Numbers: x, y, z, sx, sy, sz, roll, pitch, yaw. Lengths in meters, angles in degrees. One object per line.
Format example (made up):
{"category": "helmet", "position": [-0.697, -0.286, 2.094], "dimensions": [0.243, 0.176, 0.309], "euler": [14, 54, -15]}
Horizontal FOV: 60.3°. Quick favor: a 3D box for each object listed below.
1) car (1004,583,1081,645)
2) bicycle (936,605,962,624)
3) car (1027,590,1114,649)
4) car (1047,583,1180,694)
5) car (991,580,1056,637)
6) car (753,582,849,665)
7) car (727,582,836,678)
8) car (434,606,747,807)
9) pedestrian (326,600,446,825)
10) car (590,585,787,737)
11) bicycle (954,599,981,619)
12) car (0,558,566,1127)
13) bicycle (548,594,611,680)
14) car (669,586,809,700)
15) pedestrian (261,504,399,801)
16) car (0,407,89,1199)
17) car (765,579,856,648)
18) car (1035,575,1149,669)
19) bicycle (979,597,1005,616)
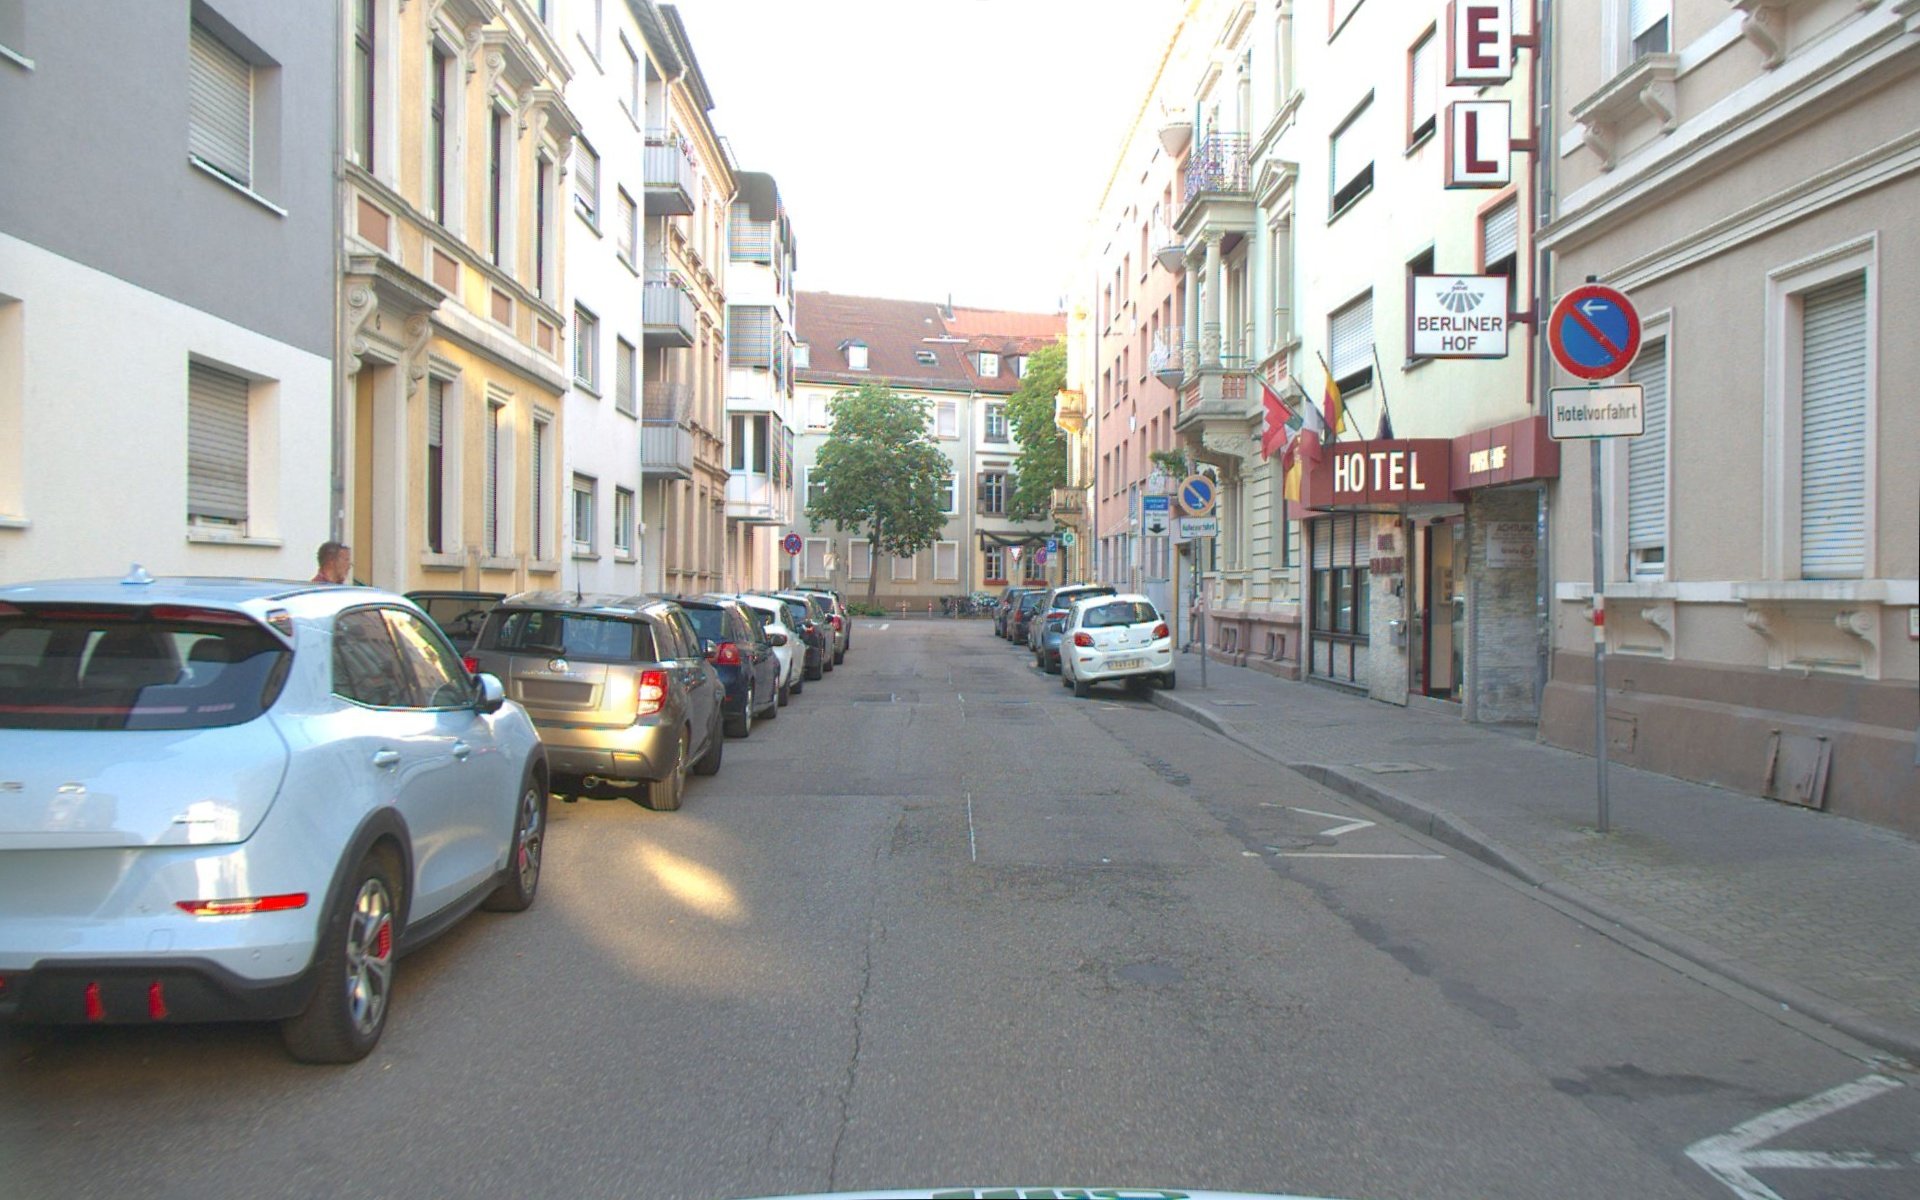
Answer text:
{"category": "car", "position": [2.385, 0.380, 48.837], "dimensions": [1.953, 1.738, 3.998], "euler": [0, 0, -2]}
{"category": "bicycle", "position": [-0.558, 0.749, 85.792], "dimensions": [0.513, 0.965, 1.705], "euler": [1, 0, -33]}
{"category": "car", "position": [2.743, 0.467, 41.709], "dimensions": [1.953, 1.408, 3.706], "euler": [0, 0, 0]}
{"category": "car", "position": [2.414, 0.565, 26.793], "dimensions": [1.629, 1.483, 3.758], "euler": [-6, 1, -1]}
{"category": "car", "position": [2.038, 0.262, 54.078], "dimensions": [1.953, 1.792, 4.000], "euler": [0, 0, 0]}
{"category": "car", "position": [-3.427, 0.460, 36.226], "dimensions": [1.954, 1.695, 4.405], "euler": [0, 0, -4]}
{"category": "car", "position": [-3.180, 0.487, 30.147], "dimensions": [1.582, 1.597, 4.303], "euler": [0, 1, -1]}
{"category": "car", "position": [-2.758, 0.732, 13.246], "dimensions": [1.649, 1.355, 4.130], "euler": [0, 0, -1]}
{"category": "pedestrian", "position": [-3.824, 0.718, 11.002], "dimensions": [0.652, 1.435, 0.666], "euler": [0, 0, -29]}
{"category": "car", "position": [-3.016, 0.617, 19.076], "dimensions": [1.693, 1.535, 3.830], "euler": [0, 1, -1]}
{"category": "bicycle", "position": [0.388, 0.450, 84.360], "dimensions": [0.513, 0.910, 1.705], "euler": [-1, 3, -33]}
{"category": "car", "position": [-2.823, 0.628, 6.807], "dimensions": [1.729, 1.591, 4.362], "euler": [0, 1, -5]}
{"category": "bicycle", "position": [-5.750, 0.530, 25.061], "dimensions": [0.512, 1.221, 2.122], "euler": [-1, 0, -2]}
{"category": "car", "position": [-3.139, 0.569, 24.100], "dimensions": [1.597, 1.498, 3.754], "euler": [0, 1, -1]}
{"category": "pedestrian", "position": [-4.488, 0.359, 11.830], "dimensions": [0.783, 2.049, 0.773], "euler": [0, 0, -11]}
{"category": "car", "position": [-2.772, 0.540, 1.748], "dimensions": [1.598, 1.845, 4.184], "euler": [0, 1, -2]}
{"category": "car", "position": [-3.783, 0.321, 42.390], "dimensions": [1.953, 1.691, 3.977], "euler": [0, 0, 0]}
{"category": "car", "position": [2.578, 0.400, 33.263], "dimensions": [1.953, 1.762, 4.059], "euler": [0, 0, 0]}
{"category": "bicycle", "position": [1.643, 0.317, 85.008], "dimensions": [0.513, 0.965, 1.705], "euler": [0, 0, -33]}
